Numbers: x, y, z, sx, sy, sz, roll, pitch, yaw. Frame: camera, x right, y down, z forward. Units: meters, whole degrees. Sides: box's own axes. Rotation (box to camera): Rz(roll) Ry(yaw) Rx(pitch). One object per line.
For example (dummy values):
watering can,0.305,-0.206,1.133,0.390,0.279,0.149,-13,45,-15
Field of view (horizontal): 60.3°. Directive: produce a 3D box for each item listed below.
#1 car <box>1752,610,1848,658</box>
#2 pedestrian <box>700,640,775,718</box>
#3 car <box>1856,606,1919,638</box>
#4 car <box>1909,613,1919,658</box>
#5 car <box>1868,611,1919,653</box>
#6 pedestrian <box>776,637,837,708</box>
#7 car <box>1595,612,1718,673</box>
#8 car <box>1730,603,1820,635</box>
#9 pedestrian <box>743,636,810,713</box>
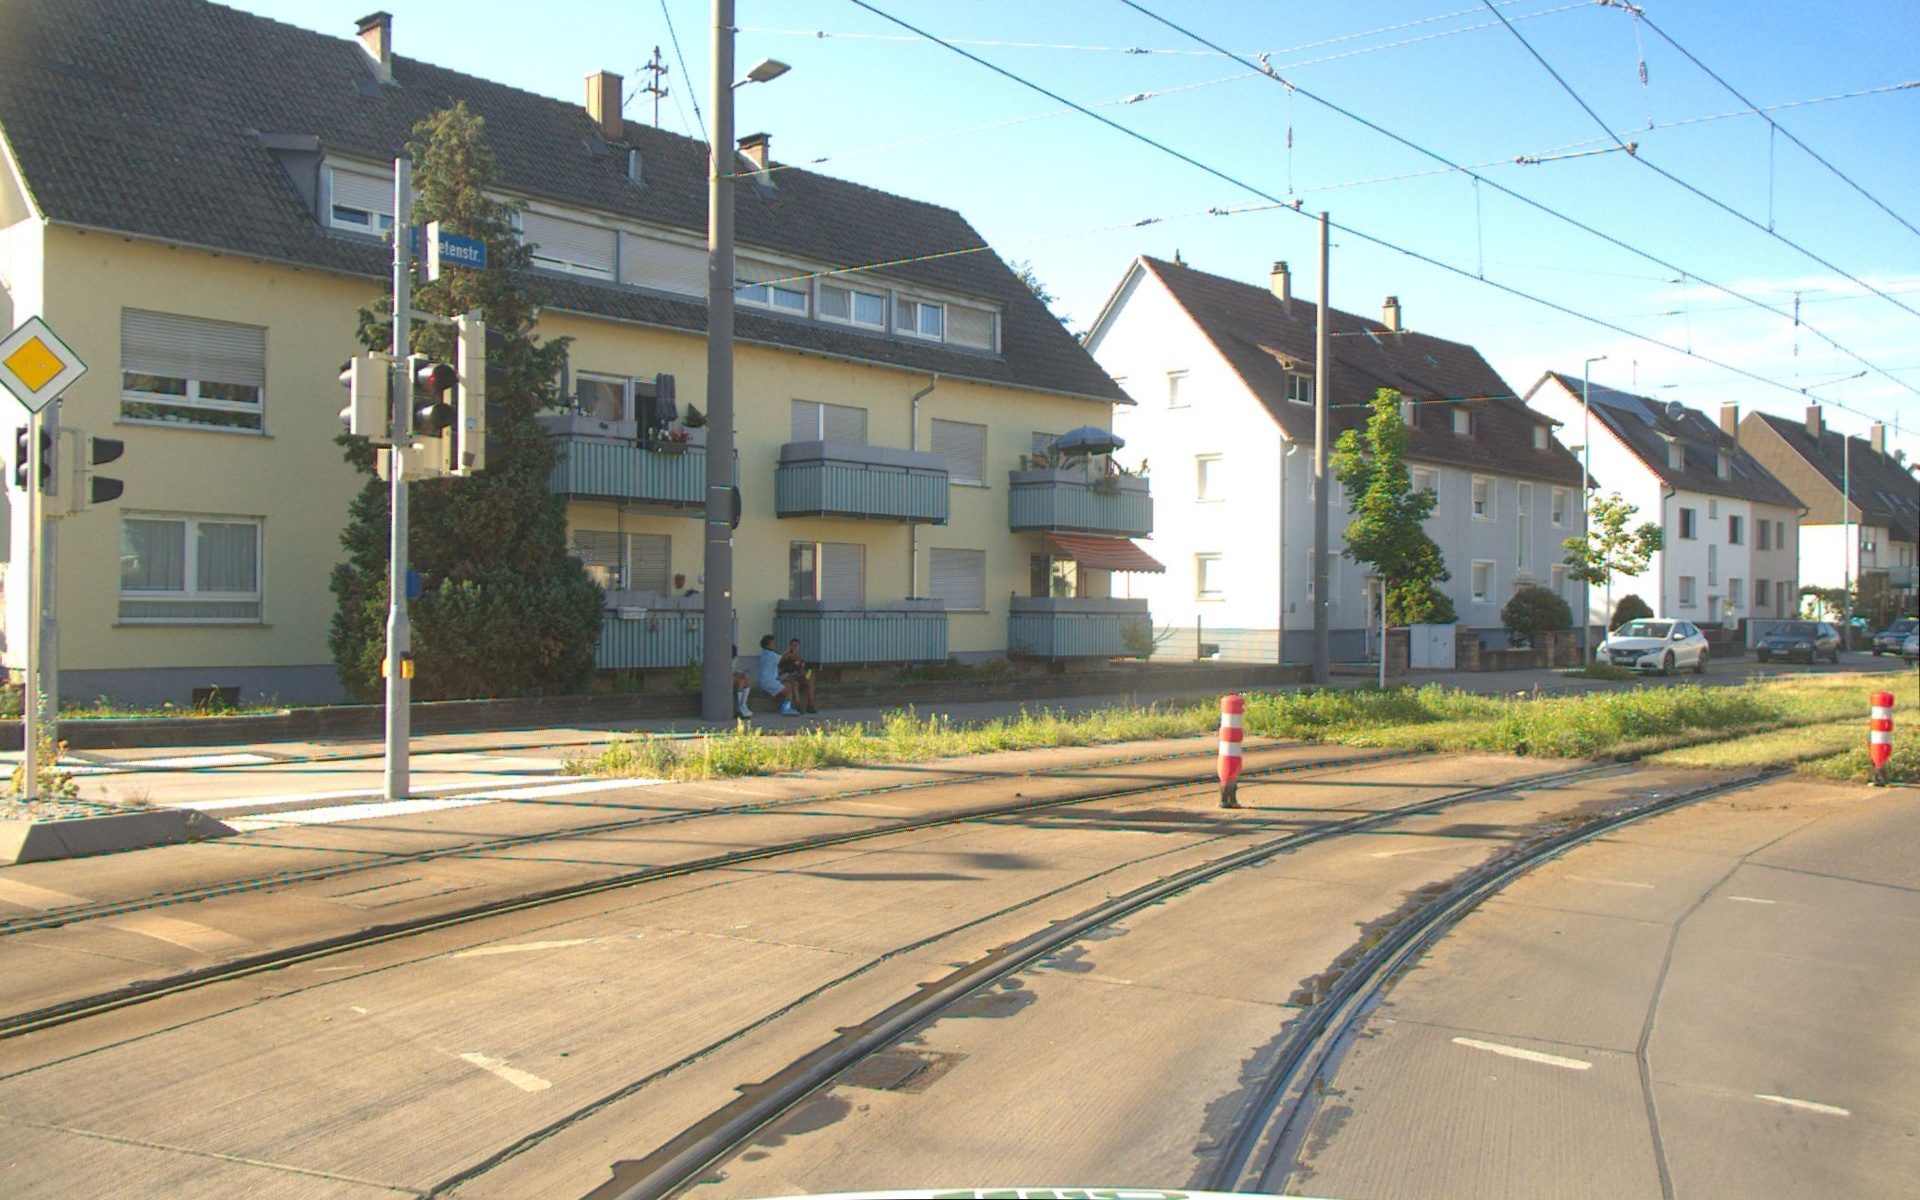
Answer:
car,27.622,1.081,54.337,1.765,1.488,4.139,0,0,43
pedestrian,-3.165,1.108,23.477,0.805,1.065,0.684,0,-1,40
car,49.624,1.134,87.049,4.101,1.645,1.750,0,0,40
car,32.063,1.139,53.547,1.528,1.436,3.635,0,-1,43
car,37.376,1.240,64.804,4.844,1.549,1.852,1,0,-45
pedestrian,-2.295,1.082,24.798,0.707,1.023,0.595,1,-2,19
car,18.534,1.099,43.920,1.669,1.544,4.186,0,-1,43
car,44.608,1.032,90.572,1.842,1.683,4.105,1,0,-43
pedestrian,-2.677,1.081,24.186,0.800,1.083,0.627,1,-2,9
